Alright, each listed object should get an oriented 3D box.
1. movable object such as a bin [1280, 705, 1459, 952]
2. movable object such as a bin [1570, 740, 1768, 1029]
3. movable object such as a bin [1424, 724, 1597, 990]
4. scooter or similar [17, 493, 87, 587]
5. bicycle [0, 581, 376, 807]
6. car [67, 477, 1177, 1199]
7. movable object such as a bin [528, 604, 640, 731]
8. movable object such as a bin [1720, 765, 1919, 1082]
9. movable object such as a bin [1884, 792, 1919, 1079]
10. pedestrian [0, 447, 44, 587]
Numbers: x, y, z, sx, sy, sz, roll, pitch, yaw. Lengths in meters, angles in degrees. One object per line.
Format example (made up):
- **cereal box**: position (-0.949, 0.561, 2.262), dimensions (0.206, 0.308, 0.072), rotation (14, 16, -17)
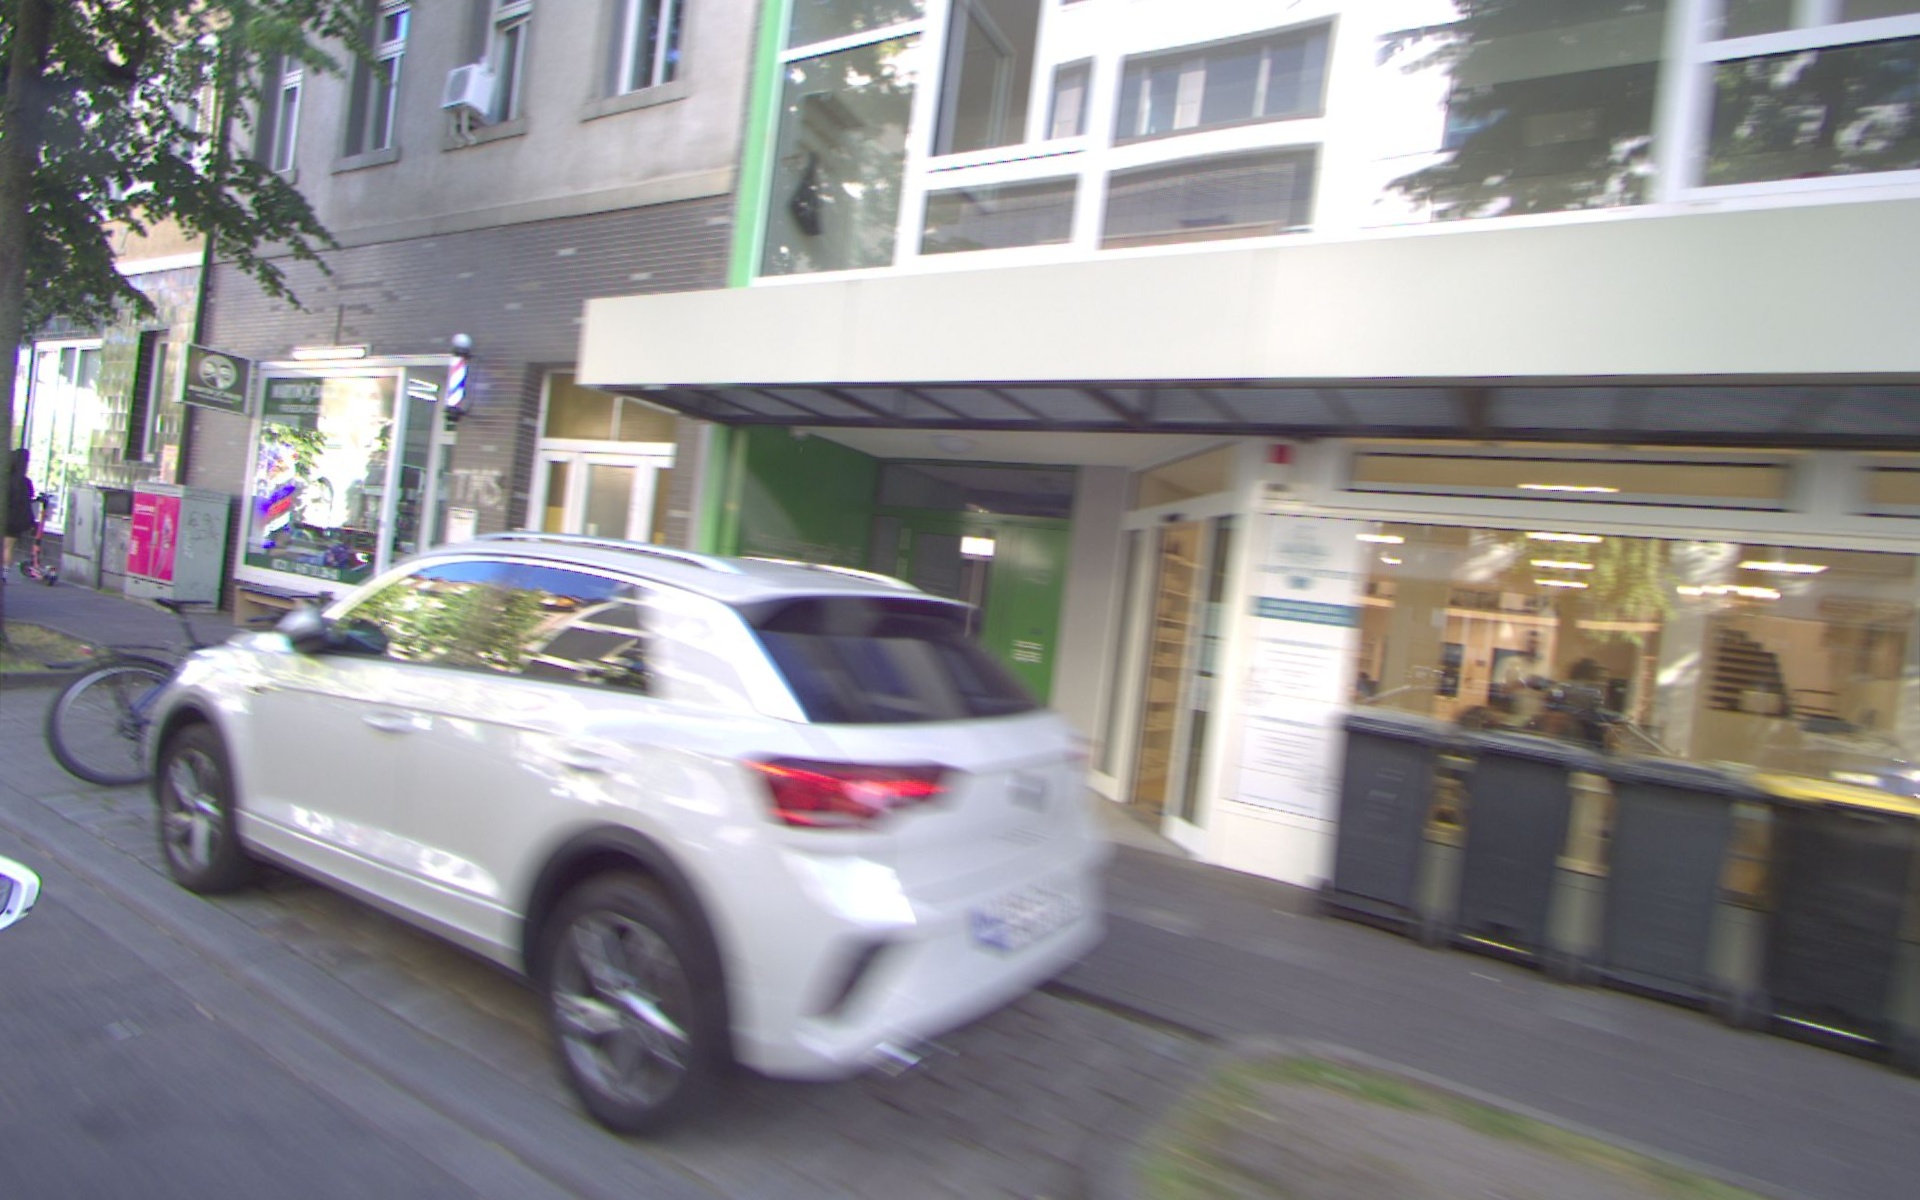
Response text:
- **movable object such as a bin**: position (2.136, 1.134, 5.229), dimensions (0.644, 1.077, 0.614), rotation (8, 1, 33)
- **movable object such as a bin**: position (3.193, 1.239, 4.581), dimensions (0.580, 1.077, 0.614), rotation (8, 1, 33)
- **movable object such as a bin**: position (2.683, 1.197, 4.891), dimensions (0.580, 1.077, 0.614), rotation (8, 1, 33)
- **scooter or similar**: position (-12.773, -0.848, 14.142), dimensions (1.149, 1.203, 0.399), rotation (7, 3, 33)
- **bicycle**: position (-4.281, 0.448, 5.640), dimensions (0.601, 1.027, 1.622), rotation (8, 4, 30)
- **car**: position (-1.519, 0.515, 4.032), dimensions (4.163, 1.547, 1.884), rotation (7, 2, 31)
- **movable object such as a bin**: position (-3.196, 0.568, 8.557), dimensions (0.644, 0.968, 0.523), rotation (8, 1, 33)
- **movable object such as a bin**: position (3.686, 1.310, 4.262), dimensions (0.580, 1.077, 0.614), rotation (8, 1, 33)
- **movable object such as a bin**: position (4.166, 1.376, 3.951), dimensions (0.580, 1.077, 0.614), rotation (8, 1, 33)
- **pedestrian**: position (-12.739, -1.118, 13.340), dimensions (0.758, 1.788, 0.623), rotation (7, 3, 33)
